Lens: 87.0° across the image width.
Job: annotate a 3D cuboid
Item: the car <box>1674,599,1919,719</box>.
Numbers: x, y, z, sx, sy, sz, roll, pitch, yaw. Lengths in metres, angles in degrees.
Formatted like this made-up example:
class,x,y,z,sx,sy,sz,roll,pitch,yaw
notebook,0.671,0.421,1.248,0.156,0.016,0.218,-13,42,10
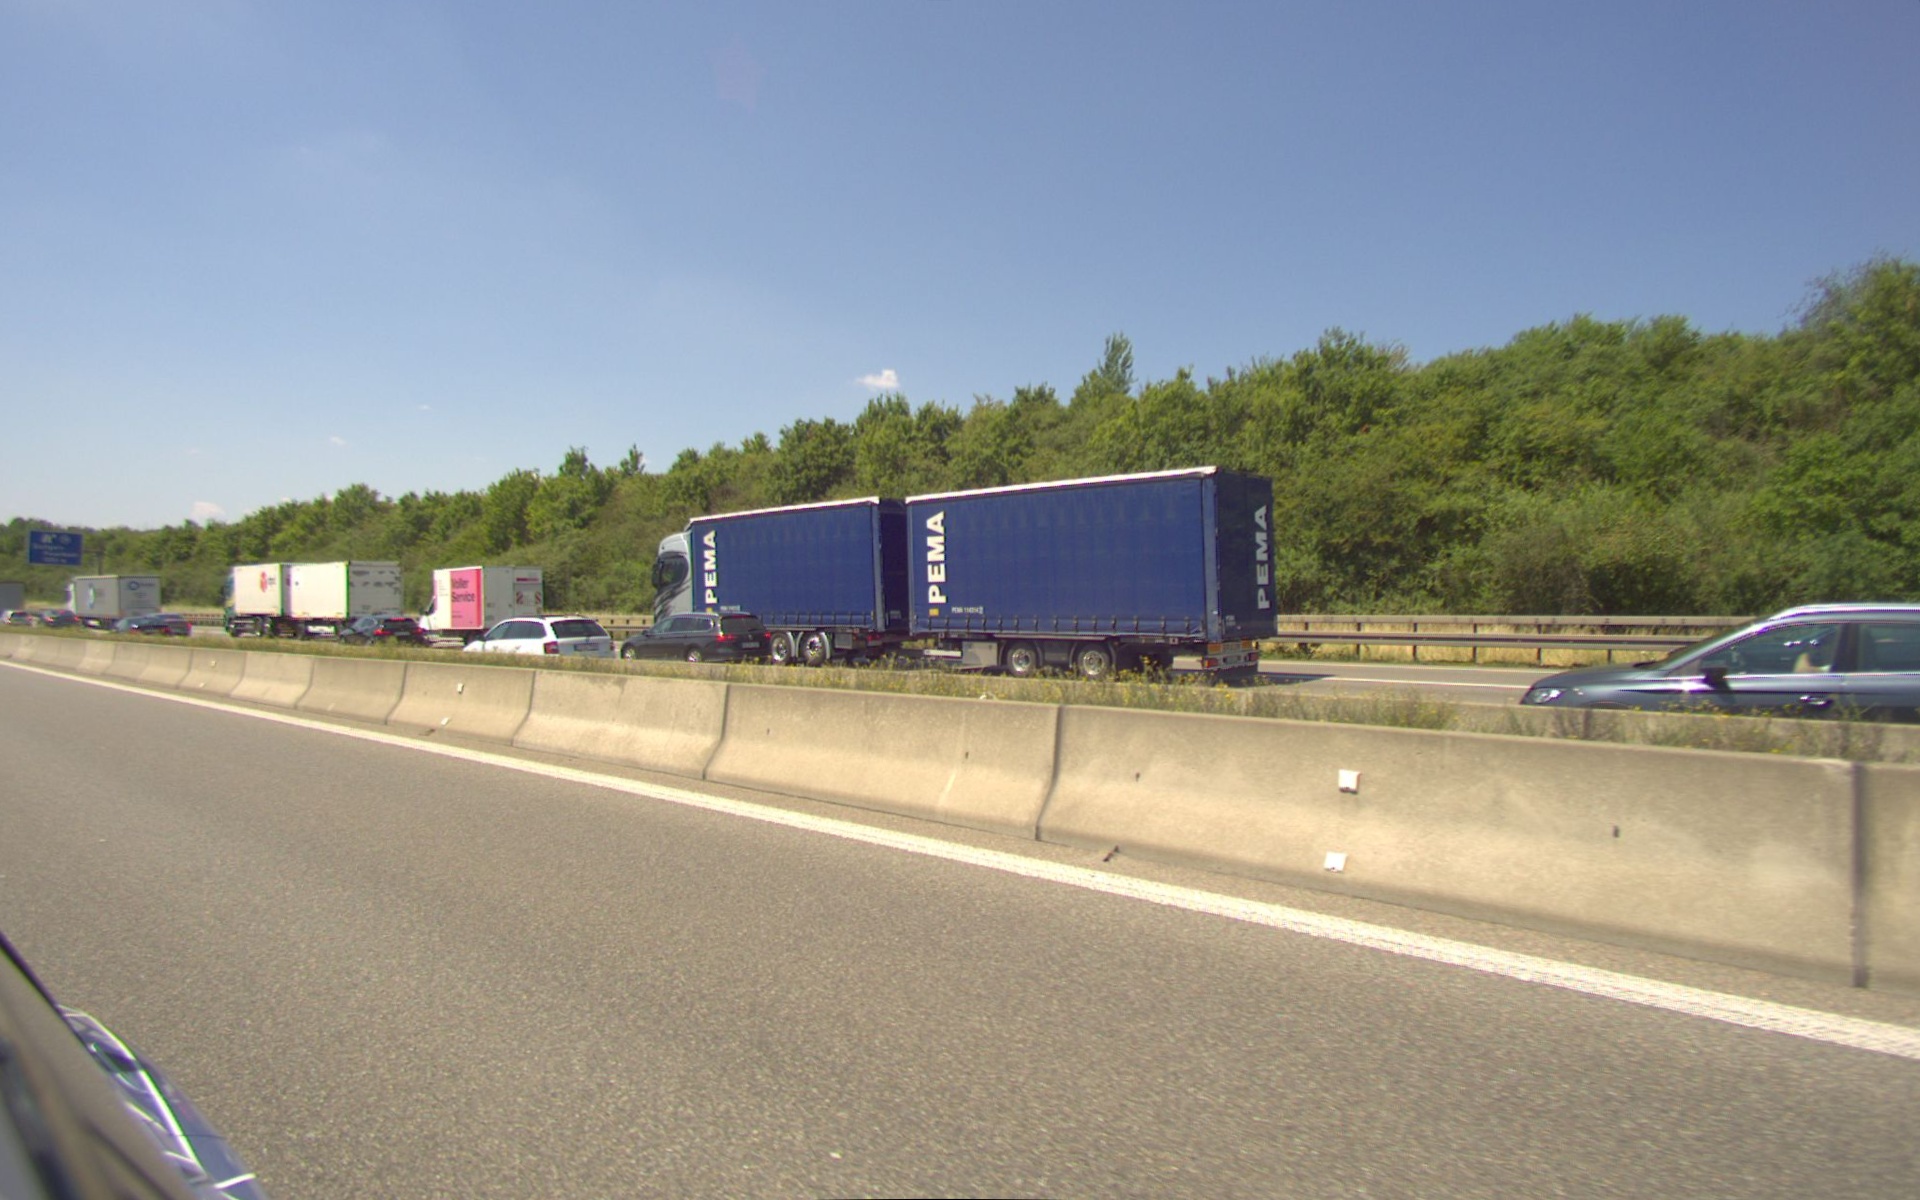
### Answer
class,x,y,z,sx,sy,sz,roll,pitch,yaw
car,12.010,0.714,12.900,4.645,1.442,1.639,-1,0,40

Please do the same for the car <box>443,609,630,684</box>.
class,x,y,z,sx,sy,sz,roll,pitch,yaw
car,-9.375,0.935,22.205,4.872,1.294,1.819,2,2,41

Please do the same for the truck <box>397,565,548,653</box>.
class,x,y,z,sx,sy,sz,roll,pitch,yaw
truck,-19.680,0.379,40.647,7.581,3.232,2.513,-1,0,39

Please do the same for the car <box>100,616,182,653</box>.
class,x,y,z,sx,sy,sz,roll,pitch,yaw
car,-36.996,1.513,45.675,4.768,1.539,1.973,-1,0,40

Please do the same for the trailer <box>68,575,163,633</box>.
class,x,y,z,sx,sy,sz,roll,pitch,yaw
trailer,-65.095,0.294,77.799,14.429,4.117,2.874,0,0,39

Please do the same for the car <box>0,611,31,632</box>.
class,x,y,z,sx,sy,sz,roll,pitch,yaw
car,-76.950,1.703,81.980,4.852,1.471,1.735,2,2,38

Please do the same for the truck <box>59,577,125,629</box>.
class,x,y,z,sx,sy,sz,roll,pitch,yaw
truck,-70.350,0.261,81.990,6.595,4.067,2.826,0,0,38

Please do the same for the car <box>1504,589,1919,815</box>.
class,x,y,z,sx,sy,sz,roll,pitch,yaw
car,7.127,0.727,8.148,4.551,1.595,1.819,-1,0,41

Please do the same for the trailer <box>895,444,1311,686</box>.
class,x,y,z,sx,sy,sz,roll,pitch,yaw
trailer,2.698,-0.555,21.639,8.590,4.224,2.955,-1,-1,41

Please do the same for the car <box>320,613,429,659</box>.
class,x,y,z,sx,sy,sz,roll,pitch,yaw
car,-21.573,1.289,37.223,4.768,1.539,1.973,-1,0,40

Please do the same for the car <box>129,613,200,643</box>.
class,x,y,z,sx,sy,sz,roll,pitch,yaw
car,-44.627,1.539,56.715,5.488,1.557,1.974,0,0,39

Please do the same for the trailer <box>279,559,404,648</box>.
class,x,y,z,sx,sy,sz,roll,pitch,yaw
trailer,-31.062,0.231,50.702,8.223,4.103,2.890,-1,-2,40

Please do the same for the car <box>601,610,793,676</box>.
class,x,y,z,sx,sy,sz,roll,pitch,yaw
car,-6.557,0.989,24.915,5.166,1.466,1.973,-1,0,40

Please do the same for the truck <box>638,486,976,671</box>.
class,x,y,z,sx,sy,sz,roll,pitch,yaw
truck,-4.623,-0.426,27.990,10.727,4.266,2.970,-1,-1,41

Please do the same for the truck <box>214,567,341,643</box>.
class,x,y,z,sx,sy,sz,roll,pitch,yaw
truck,-38.466,0.338,56.809,11.236,3.928,2.814,-1,-1,40

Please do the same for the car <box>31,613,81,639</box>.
class,x,y,z,sx,sy,sz,roll,pitch,yaw
car,-65.467,1.819,73.272,5.107,1.654,1.843,2,1,38

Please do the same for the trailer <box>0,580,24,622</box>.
class,x,y,z,sx,sy,sz,roll,pitch,yaw
trailer,-101.698,0.008,106.040,14.170,4.238,2.954,1,1,37
